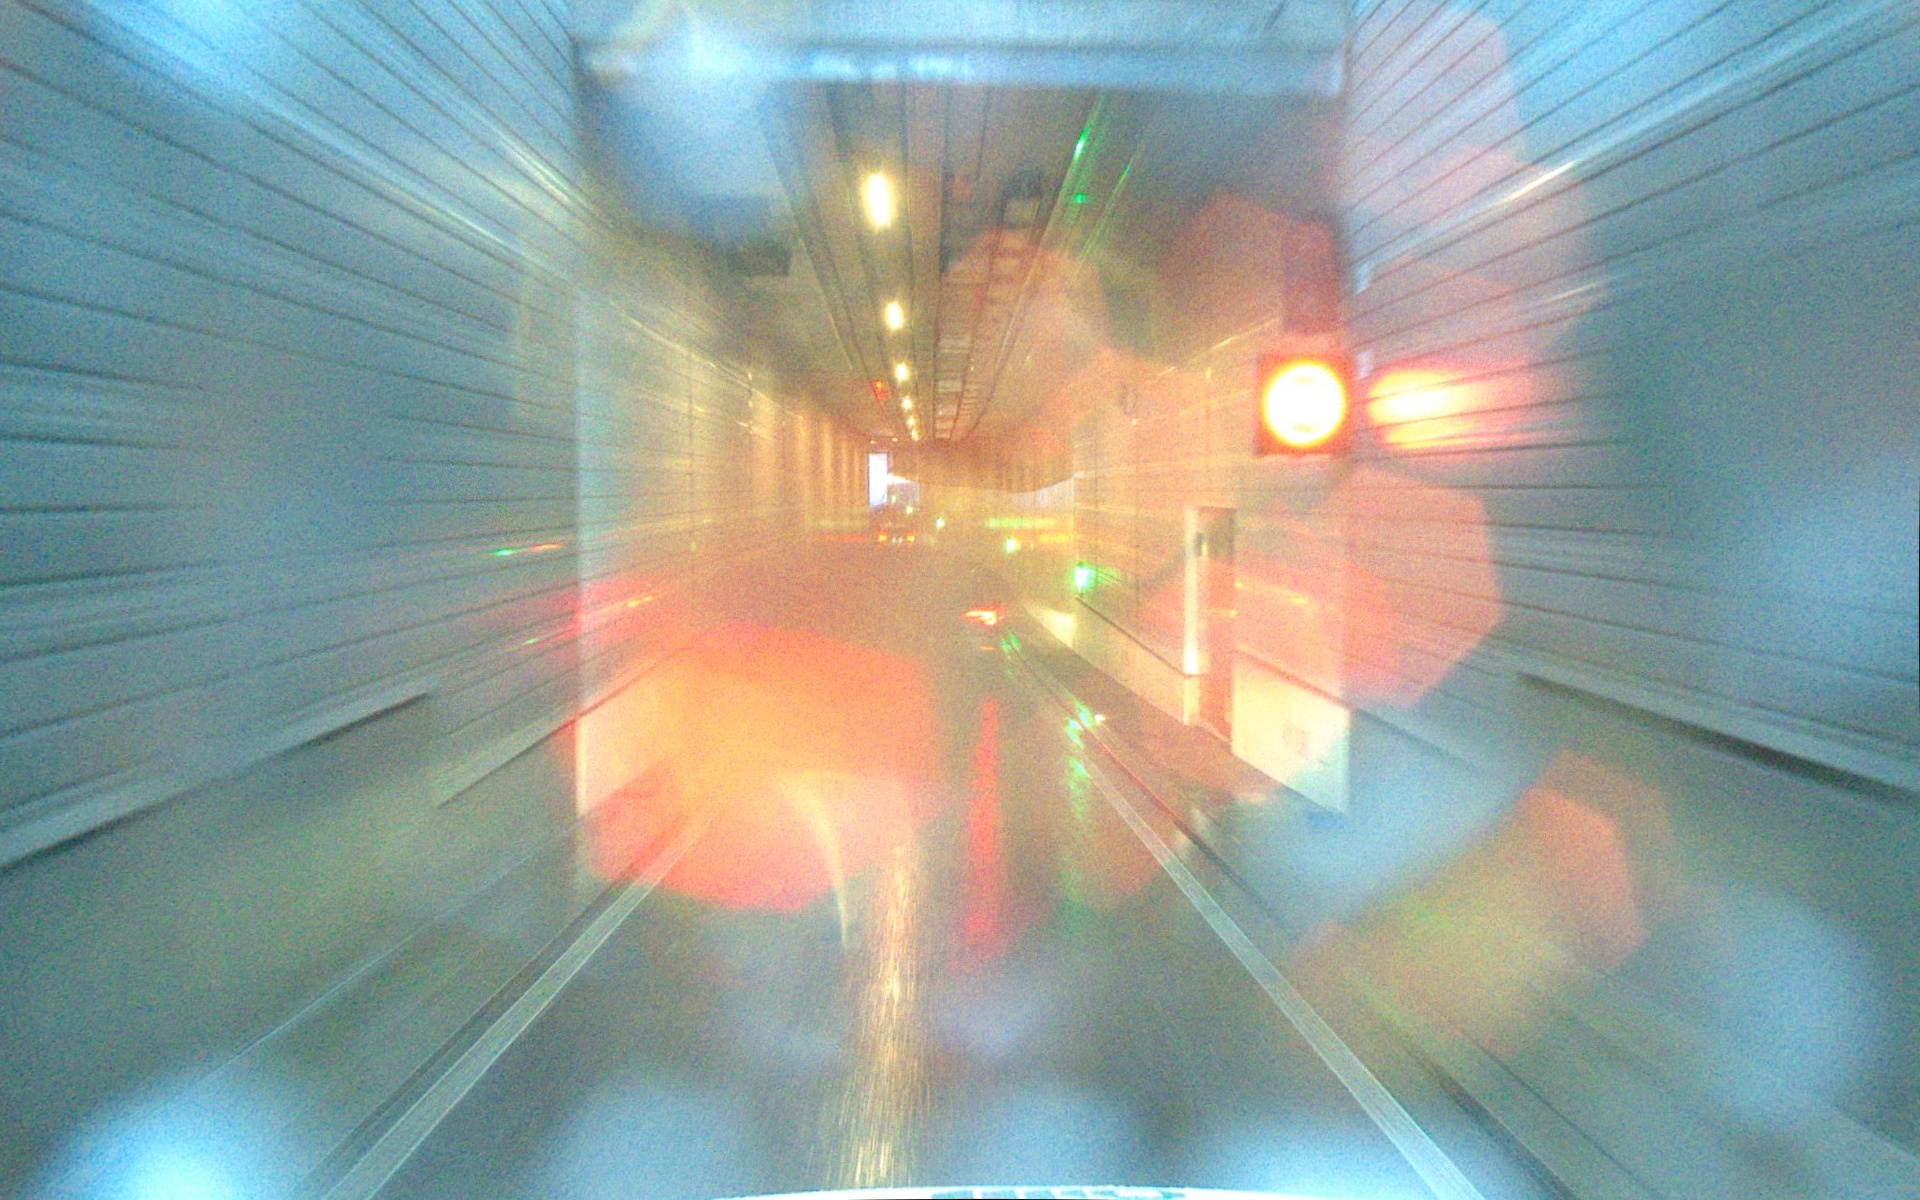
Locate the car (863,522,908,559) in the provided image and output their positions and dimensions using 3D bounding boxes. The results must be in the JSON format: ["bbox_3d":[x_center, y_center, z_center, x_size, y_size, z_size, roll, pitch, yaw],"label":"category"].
[{"bbox_3d":[-3.290,-2.656,72.891,1.881,1.511,3.999,1,3,-3],"label":"car"}]

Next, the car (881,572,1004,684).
[{"bbox_3d":[-0.236,0.357,25.069,1.687,1.505,4.000,2,1,0],"label":"car"}]
